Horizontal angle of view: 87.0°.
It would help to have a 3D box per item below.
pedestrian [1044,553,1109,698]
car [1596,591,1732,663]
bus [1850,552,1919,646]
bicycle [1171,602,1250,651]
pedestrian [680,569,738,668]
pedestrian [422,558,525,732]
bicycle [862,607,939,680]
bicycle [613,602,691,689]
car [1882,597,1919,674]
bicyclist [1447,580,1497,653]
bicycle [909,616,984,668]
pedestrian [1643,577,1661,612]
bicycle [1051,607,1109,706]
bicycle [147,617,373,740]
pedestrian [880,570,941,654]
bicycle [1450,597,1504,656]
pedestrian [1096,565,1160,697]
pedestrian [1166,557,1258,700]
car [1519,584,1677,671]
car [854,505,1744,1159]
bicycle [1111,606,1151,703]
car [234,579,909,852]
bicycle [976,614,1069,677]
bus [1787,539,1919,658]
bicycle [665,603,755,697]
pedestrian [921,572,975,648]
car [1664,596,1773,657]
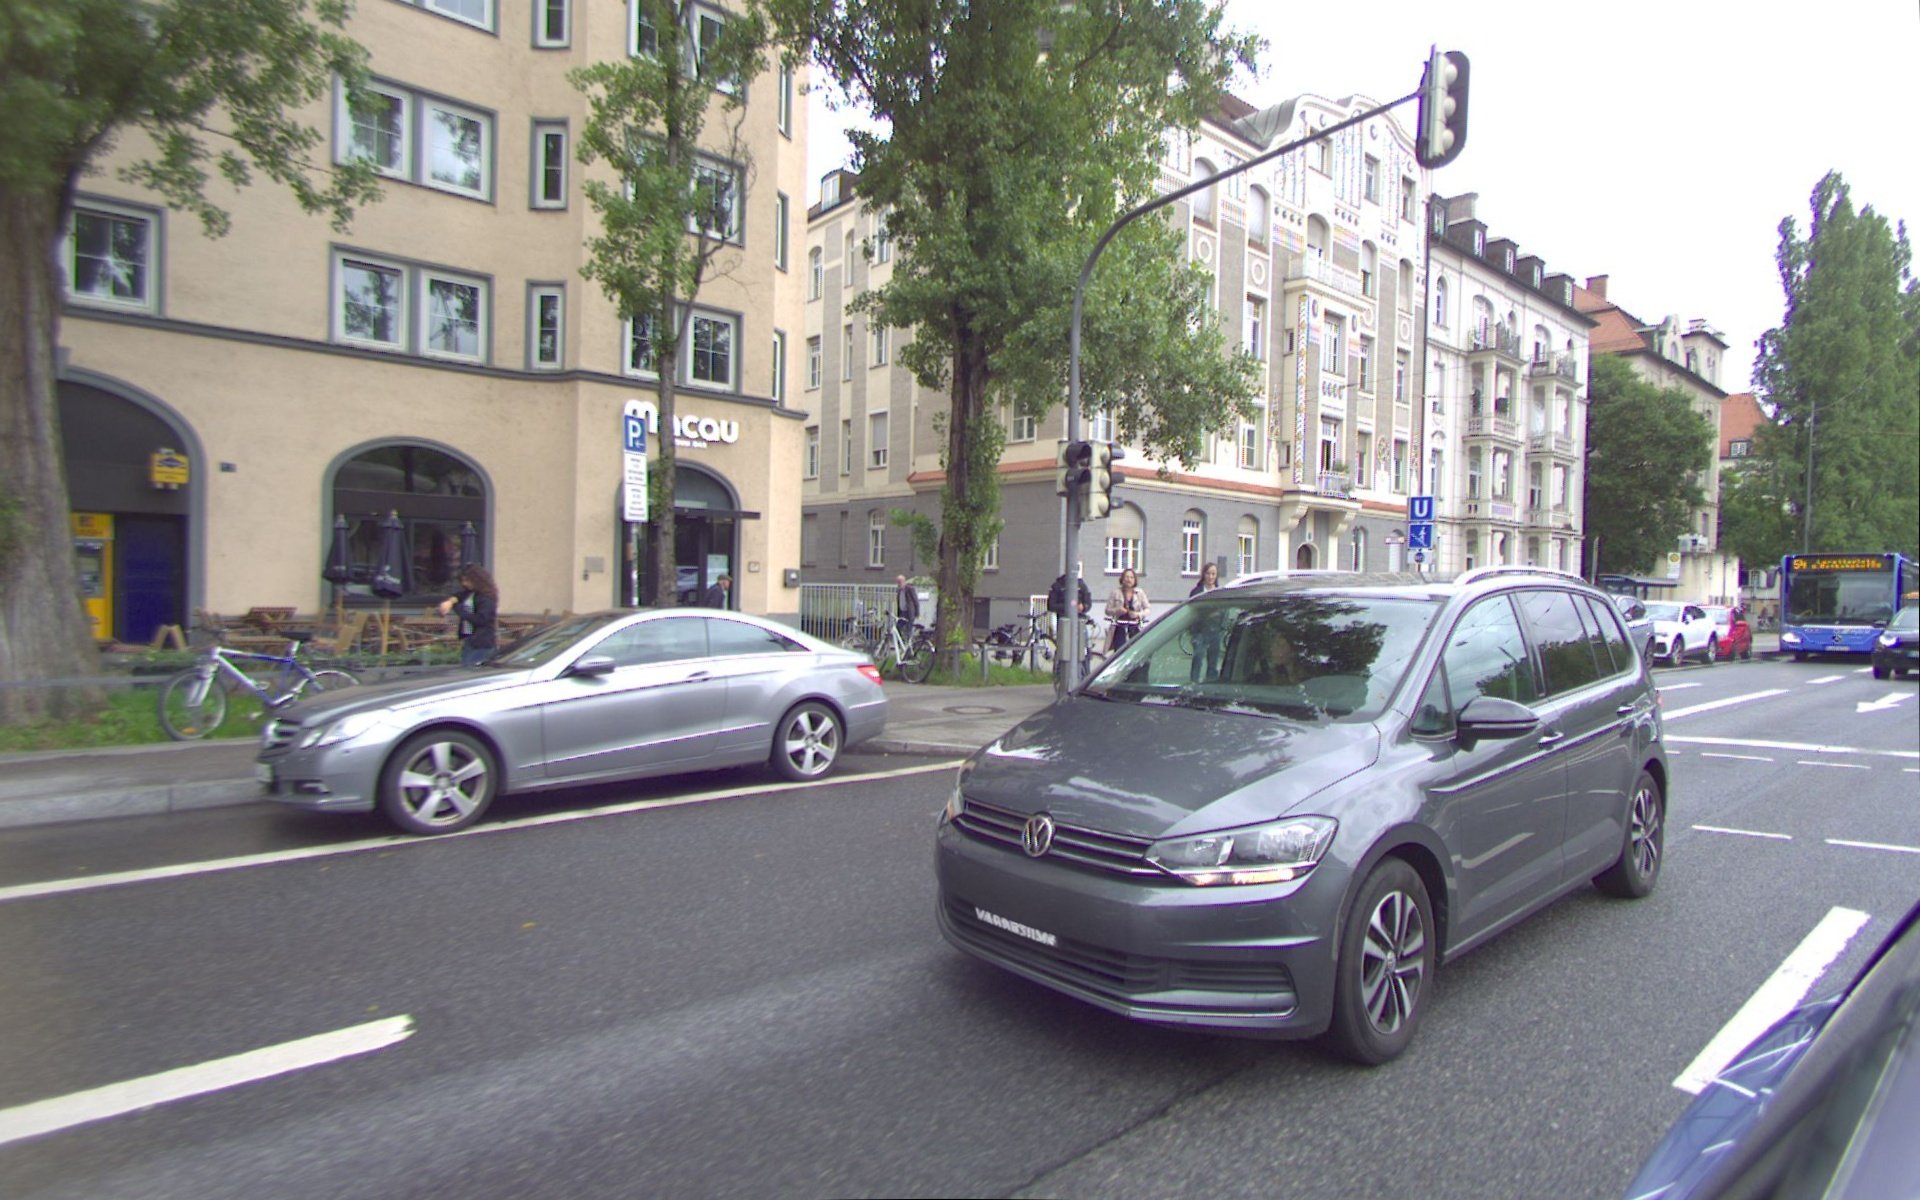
[{"bbox_3d":[1.493,0.319,13.072,0.638,1.803,0.702,1,0,-7],"label":"pedestrian"},{"bbox_3d":[17.499,0.615,25.109,3.895,1.596,1.730,0,2,-39],"label":"car"},{"bbox_3d":[33.619,-0.015,35.355,8.383,3.012,2.635,0,-1,-41],"label":"bus"},{"bbox_3d":[6.214,0.651,25.175,1.855,1.169,0.464,1,1,8],"label":"bicycle"},{"bbox_3d":[-4.230,0.298,17.102,0.806,1.622,0.850,1,1,-4],"label":"pedestrian"},{"bbox_3d":[-4.682,0.407,9.727,0.748,1.582,0.762,1,0,-36],"label":"pedestrian"},{"bbox_3d":[-0.966,0.663,16.015,0.385,1.063,1.576,0,1,-39],"label":"bicycle"},{"bbox_3d":[-4.414,0.613,14.425,0.439,1.123,1.802,1,1,-38],"label":"bicycle"},{"bbox_3d":[20.604,0.708,20.972,3.901,1.523,1.778,0,0,-41],"label":"car"},{"bbox_3d":[11.644,0.363,22.999,0.923,1.623,0.681,0,1,-40],"label":"bicyclist"},{"bbox_3d":[-0.260,0.723,17.881,0.385,0.845,1.574,0,1,-42],"label":"bicycle"},{"bbox_3d":[38.716,-0.311,56.650,0.661,1.919,0.609,1,1,-38],"label":"pedestrian"},{"bbox_3d":[1.521,0.689,13.019,0.352,1.116,1.747,1,1,-6],"label":"bicycle"},{"bbox_3d":[-6.278,0.664,9.123,1.624,0.977,0.590,0,1,-40],"label":"bicycle"},{"bbox_3d":[-1.042,0.240,21.358,0.999,1.706,0.747,0,1,-40],"label":"pedestrian"},{"bbox_3d":[11.814,0.591,23.114,1.746,1.304,0.424,0,1,-40],"label":"bicycle"},{"bbox_3d":[2.192,0.392,13.283,0.743,1.658,0.700,1,0,7],"label":"pedestrian"},{"bbox_3d":[3.335,0.362,13.426,0.741,1.824,0.883,2,0,-30],"label":"pedestrian"},{"bbox_3d":[14.011,0.530,22.115,4.424,1.681,1.736,0,2,-42],"label":"car"},{"bbox_3d":[1.935,0.563,4.742,4.624,1.667,1.775,0,2,-40],"label":"car"},{"bbox_3d":[2.209,0.667,13.181,0.353,1.116,1.743,2,1,5],"label":"bicycle"},{"bbox_3d":[-2.744,0.618,7.805,4.452,1.458,1.996,0,2,-43],"label":"car"},{"bbox_3d":[0.999,0.721,16.577,0.385,0.928,1.838,0,1,-38],"label":"bicycle"},{"bbox_3d":[26.914,-0.023,29.592,9.299,3.012,2.635,0,-1,-41],"label":"bus"},{"bbox_3d":[-3.245,0.609,13.029,0.439,1.124,1.801,1,-1,-38],"label":"bicycle"},{"bbox_3d":[-0.273,0.229,23.826,0.999,1.735,0.747,0,1,-40],"label":"pedestrian"},{"bbox_3d":[21.309,0.692,28.391,3.678,1.527,1.729,0,2,-42],"label":"car"}]
